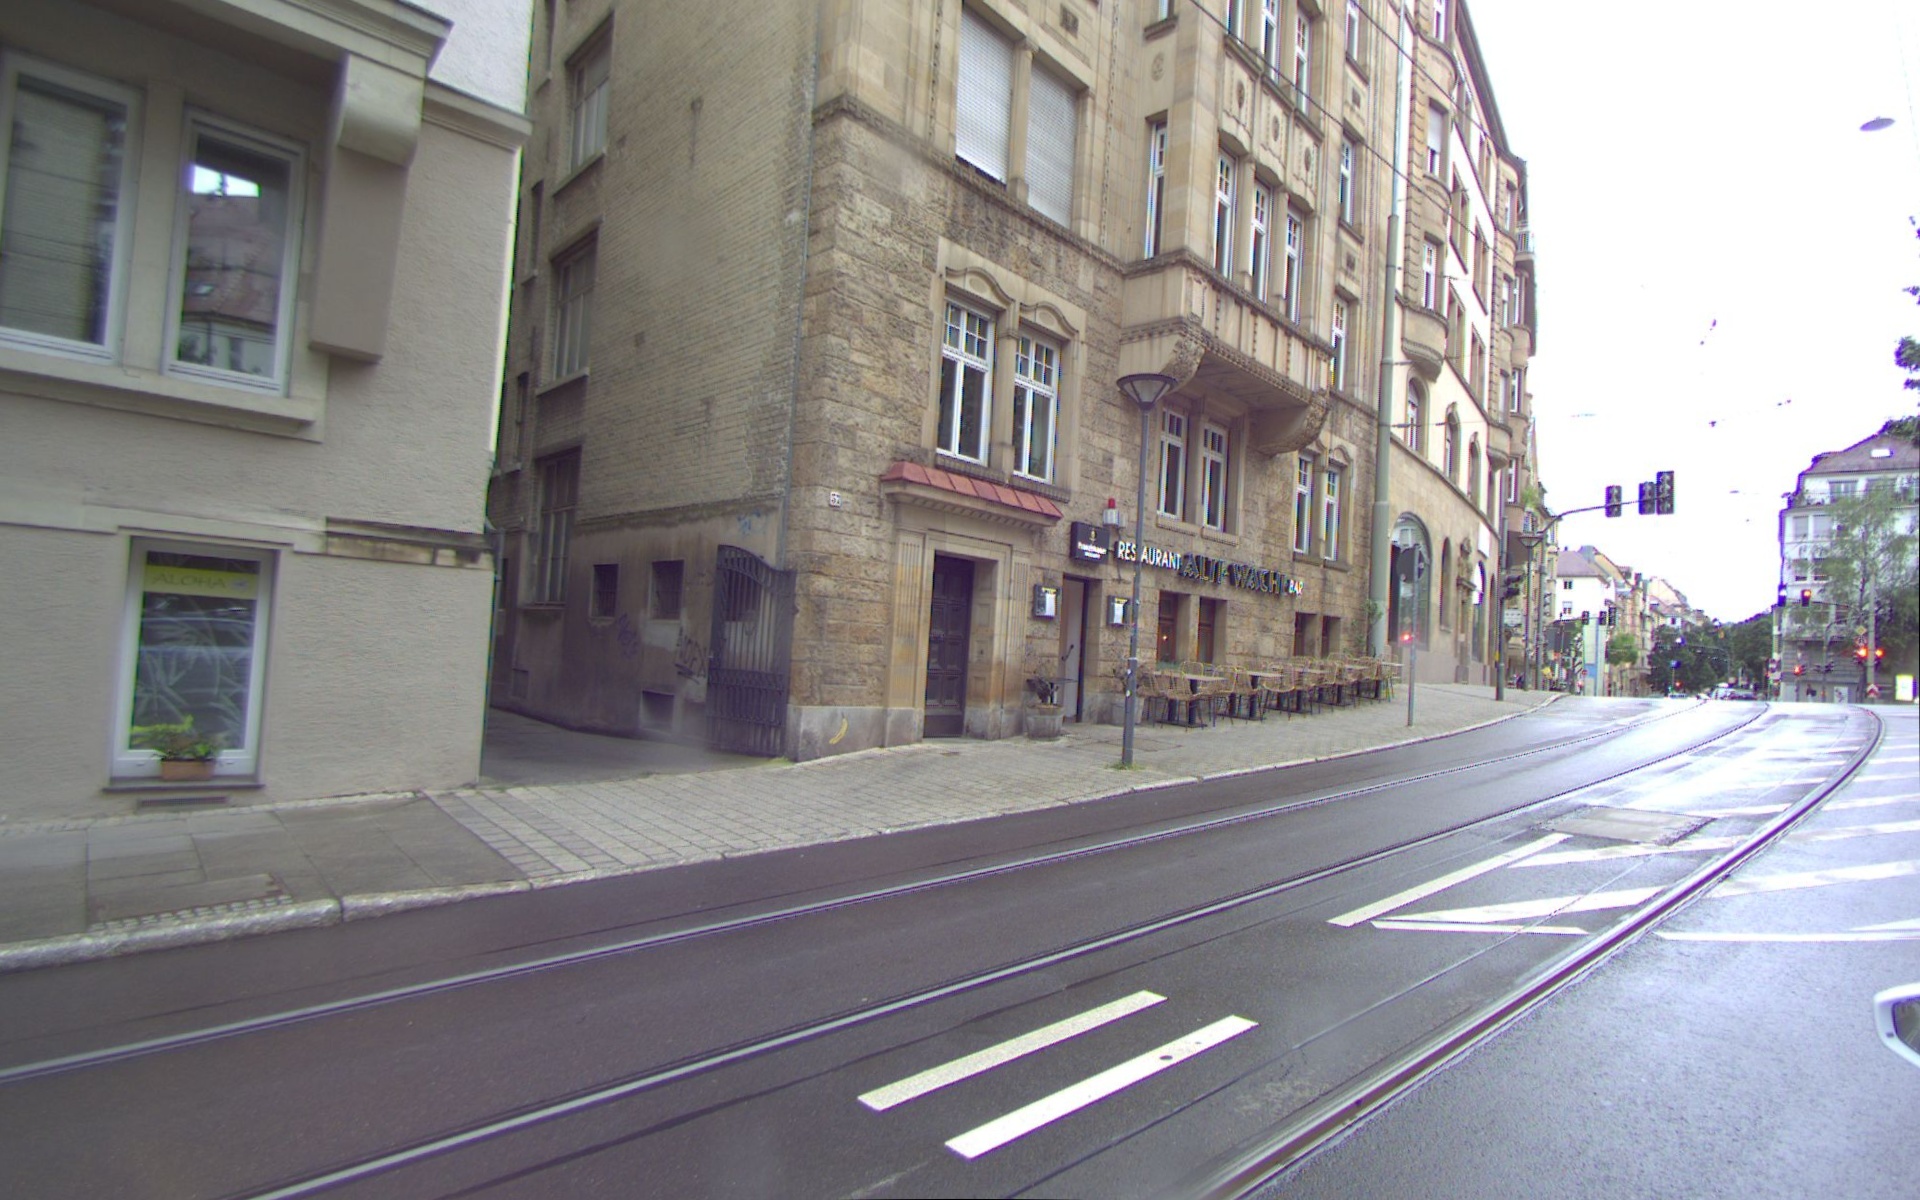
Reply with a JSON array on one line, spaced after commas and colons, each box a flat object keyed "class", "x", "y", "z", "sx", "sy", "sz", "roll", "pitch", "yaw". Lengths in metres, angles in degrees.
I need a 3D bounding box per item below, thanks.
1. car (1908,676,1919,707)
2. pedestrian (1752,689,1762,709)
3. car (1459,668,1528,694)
[{"class": "car", "x": 49.863, "y": 4.616, "z": 50.800, "sx": 3.954, "sy": 1.530, "sz": 1.786, "roll": 2, "pitch": -4, "yaw": -31}, {"class": "pedestrian", "x": 69.229, "y": 8.580, "z": 87.232, "sx": 0.640, "sy": 1.683, "sz": 0.647, "roll": 1, "pitch": -1, "yaw": 40}, {"class": "car", "x": 35.224, "y": 5.327, "z": 66.348, "sx": 3.932, "sy": 1.530, "sz": 1.795, "roll": 0, "pitch": -2, "yaw": 33}]
